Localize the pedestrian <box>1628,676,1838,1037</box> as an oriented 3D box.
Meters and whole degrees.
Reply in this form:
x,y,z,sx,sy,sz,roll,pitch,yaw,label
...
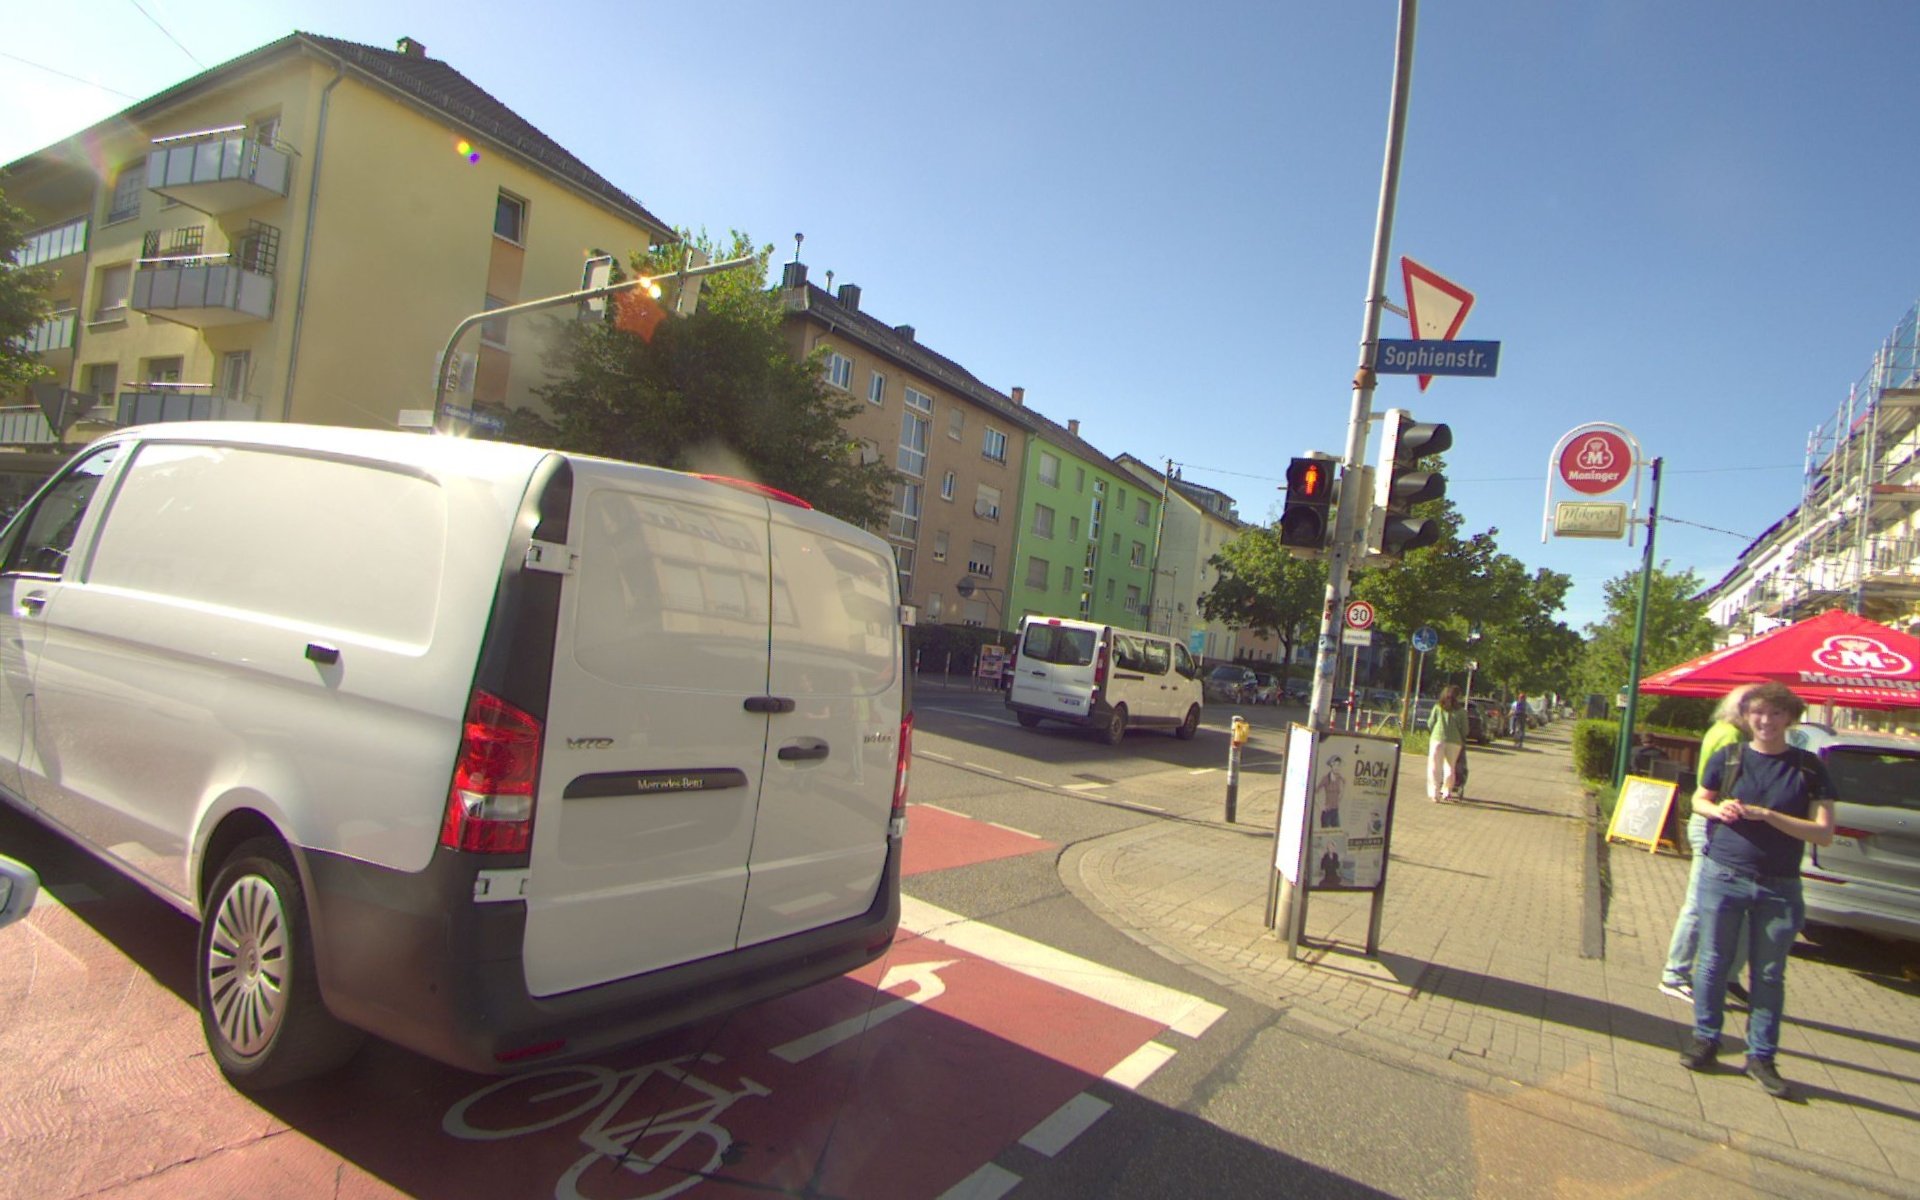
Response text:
x,y,z,sx,sy,sz,roll,pitch,yaw,label
4.345,1.378,5.690,0.752,1.778,0.662,6,-2,38,pedestrian

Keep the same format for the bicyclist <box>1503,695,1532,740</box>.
x,y,z,sx,sy,sz,roll,pitch,yaw,label
18.494,3.895,33.391,0.643,1.380,0.883,7,-1,26,bicyclist

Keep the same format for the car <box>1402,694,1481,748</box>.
x,y,z,sx,sy,sz,roll,pitch,yaw,label
14.956,3.736,31.166,1.686,1.329,3.994,6,-2,32,car

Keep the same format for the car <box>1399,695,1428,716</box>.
x,y,z,sx,sy,sz,roll,pitch,yaw,label
36.637,8.536,81.241,1.657,1.428,3.518,7,-2,31,car

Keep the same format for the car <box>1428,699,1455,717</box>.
x,y,z,sx,sy,sz,roll,pitch,yaw,label
46.816,10.498,97.810,1.659,1.428,3.514,6,-2,35,car

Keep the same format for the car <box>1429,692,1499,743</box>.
x,y,z,sx,sy,sz,roll,pitch,yaw,label
17.707,4.109,35.276,1.686,1.470,3.993,6,-2,32,car

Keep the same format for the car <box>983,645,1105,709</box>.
x,y,z,sx,sy,sz,roll,pitch,yaw,label
2.660,2.411,30.874,1.967,1.592,3.993,6,-2,32,car

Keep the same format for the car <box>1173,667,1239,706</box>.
x,y,z,sx,sy,sz,roll,pitch,yaw,label
10.856,3.820,44.239,1.658,1.428,3.516,6,-2,32,car

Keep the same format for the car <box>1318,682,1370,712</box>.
x,y,z,sx,sy,sz,roll,pitch,yaw,label
21.415,5.410,56.027,1.840,1.392,3.993,5,-3,32,car

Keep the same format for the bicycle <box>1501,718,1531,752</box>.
x,y,z,sx,sy,sz,roll,pitch,yaw,label
18.399,4.446,33.317,0.643,0.961,2.005,7,-2,25,bicycle

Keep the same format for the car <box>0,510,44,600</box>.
x,y,z,sx,sy,sz,roll,pitch,yaw,label
-18.253,-0.989,18.085,3.423,1.501,1.715,6,-1,33,car

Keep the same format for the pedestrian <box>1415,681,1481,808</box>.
x,y,z,sx,sy,sz,roll,pitch,yaw,label
6.757,1.977,13.934,0.634,1.637,0.594,7,-1,27,pedestrian

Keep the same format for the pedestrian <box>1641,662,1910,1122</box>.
x,y,z,sx,sy,sz,roll,pitch,yaw,label
3.655,1.239,4.573,0.594,1.844,0.629,7,-1,18,pedestrian

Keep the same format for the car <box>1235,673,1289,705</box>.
x,y,z,sx,sy,sz,roll,pitch,yaw,label
15.690,4.645,52.200,1.658,1.352,3.516,6,-2,33,car

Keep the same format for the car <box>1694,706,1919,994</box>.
x,y,z,sx,sy,sz,roll,pitch,yaw,label
7.191,1.823,7.963,1.795,1.682,3.993,6,-2,32,car

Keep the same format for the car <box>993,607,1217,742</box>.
x,y,z,sx,sy,sz,roll,pitch,yaw,label
2.859,1.480,18.611,1.943,1.961,5.049,6,-4,34,car

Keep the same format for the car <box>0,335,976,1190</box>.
x,y,z,sx,sy,sz,roll,pitch,yaw,label
-2.556,0.228,4.230,4.752,1.831,1.972,6,-2,31,car

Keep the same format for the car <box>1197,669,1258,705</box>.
x,y,z,sx,sy,sz,roll,pitch,yaw,label
12.682,4.130,47.560,1.658,1.352,3.516,6,-2,33,car
